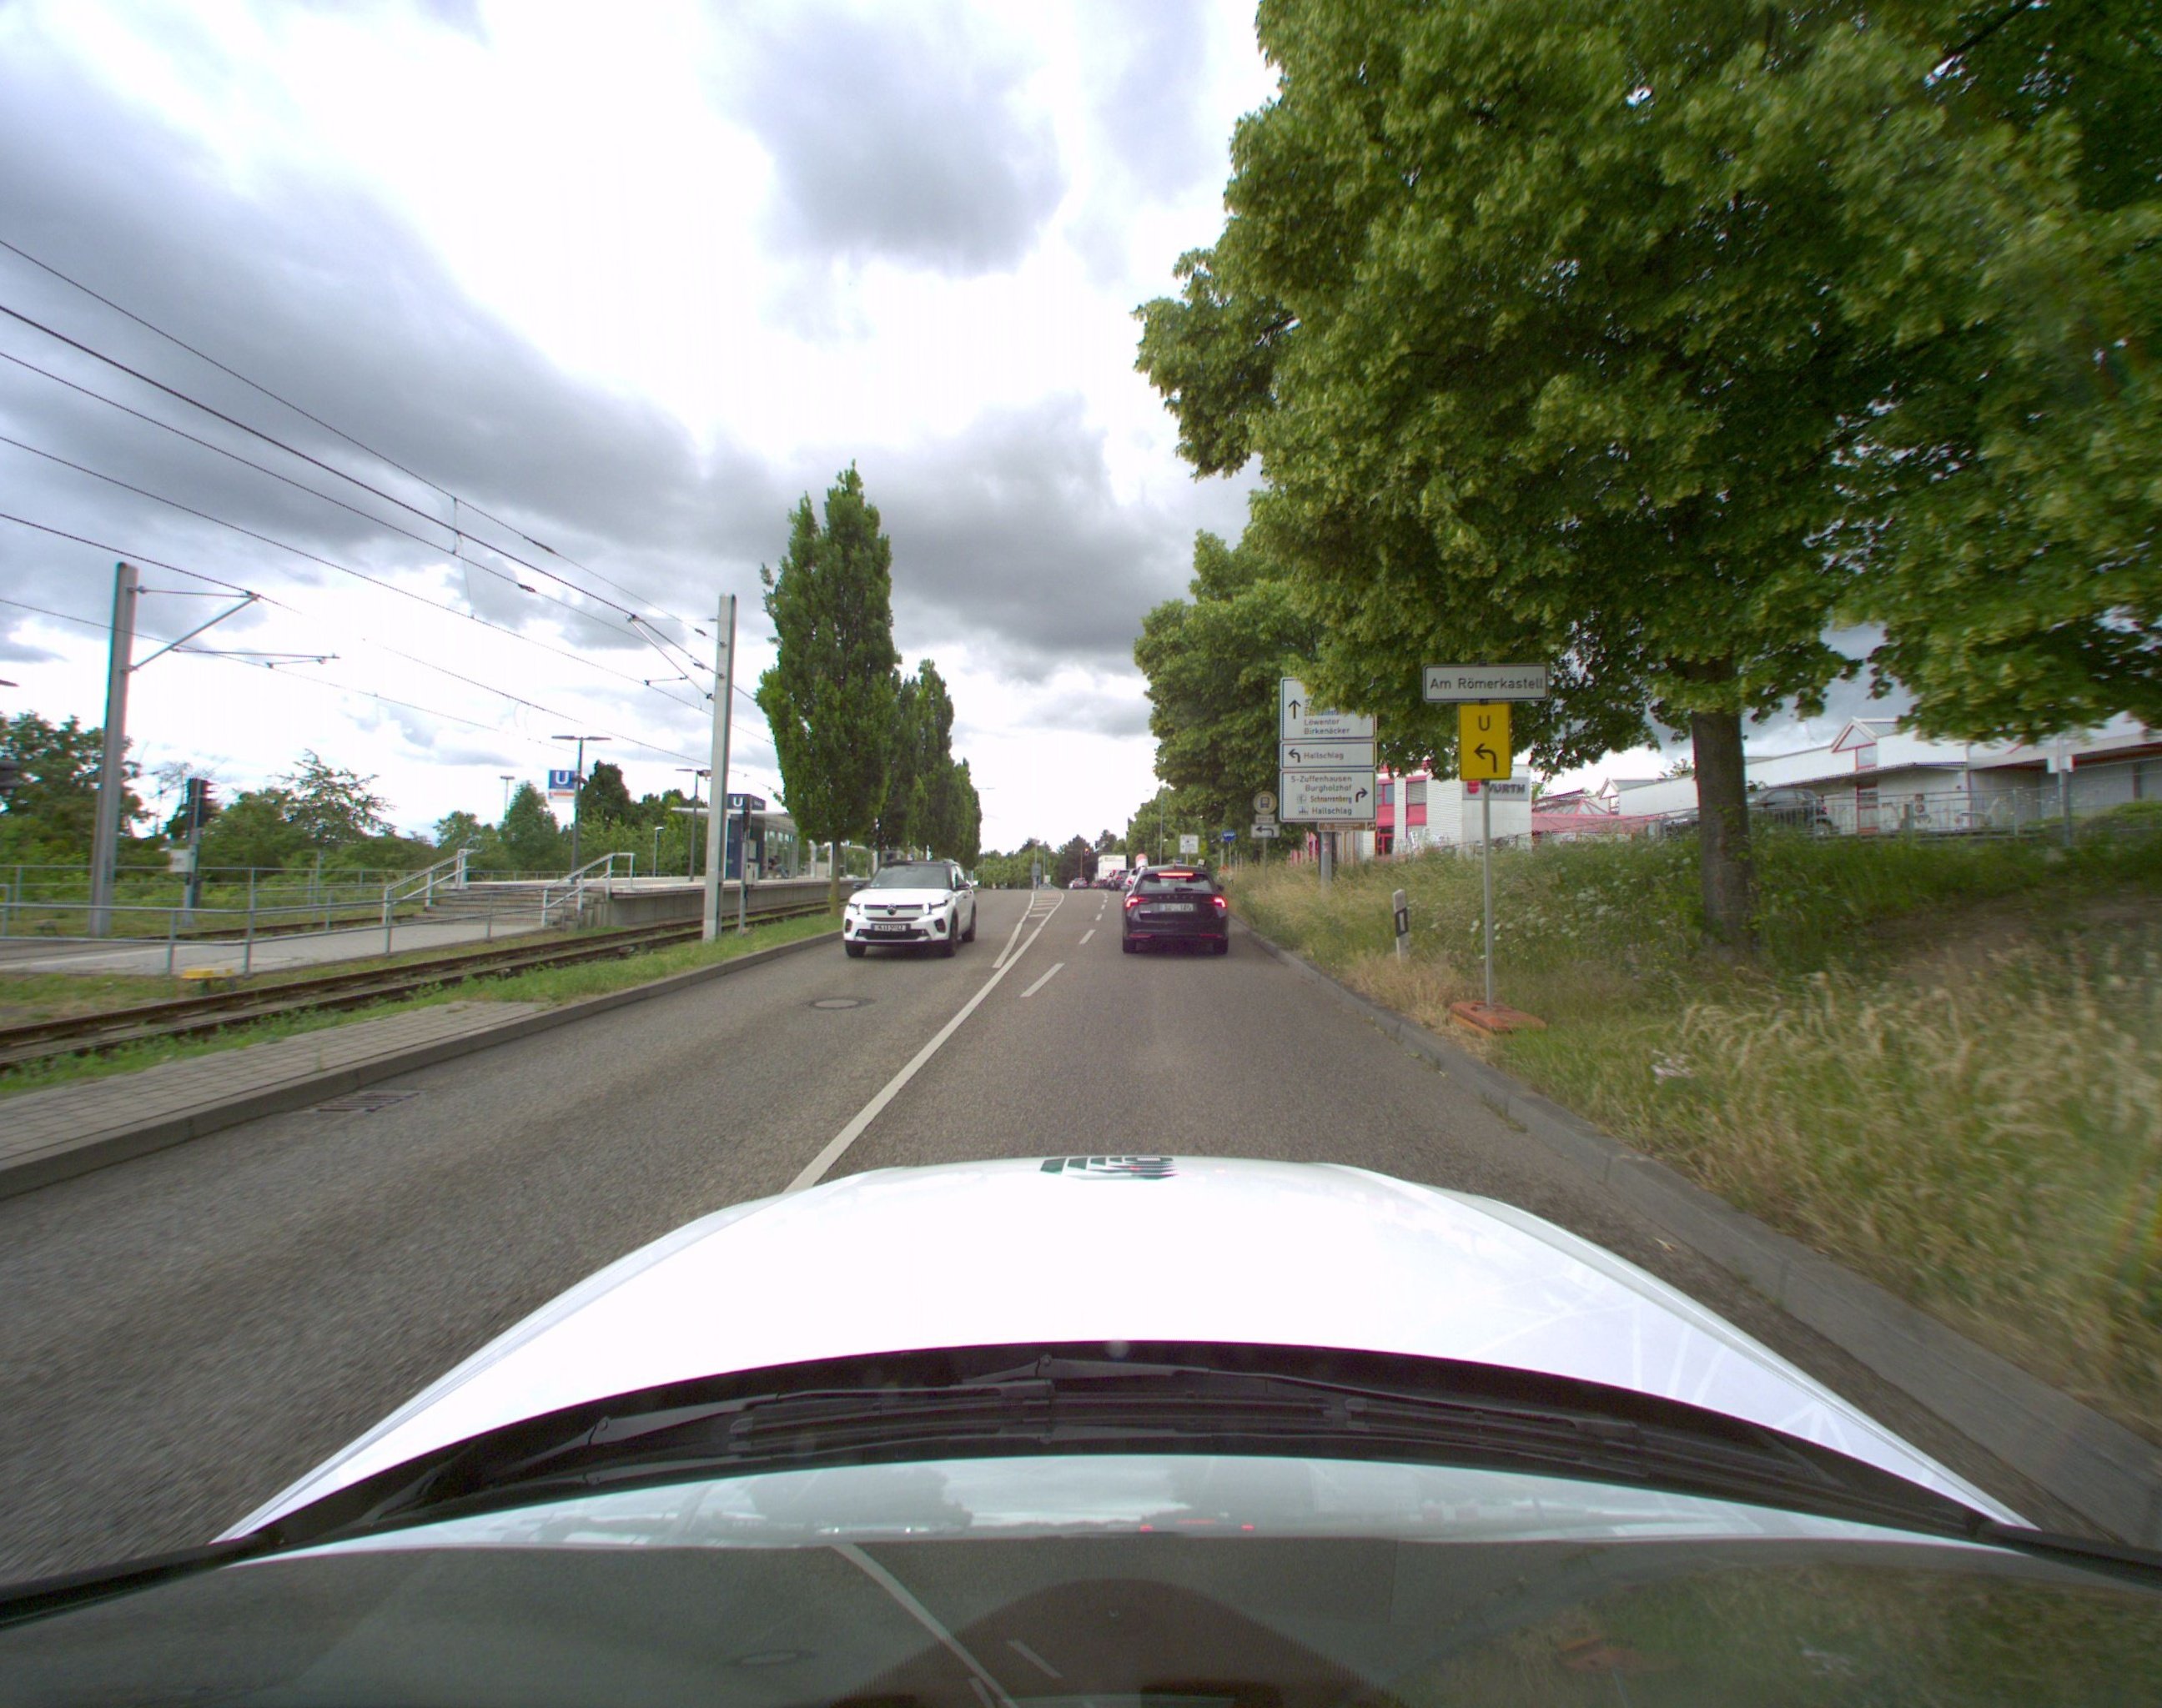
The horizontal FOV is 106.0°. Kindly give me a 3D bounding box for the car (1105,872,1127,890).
[{"bbox_3d":[2.898,2.264,68.393,1.666,1.448,4.488,0,-2,1],"label":"car"}]

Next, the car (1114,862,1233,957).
[{"bbox_3d":[1.679,0.874,14.729,1.826,1.432,4.286,0,0,7],"label":"car"}]

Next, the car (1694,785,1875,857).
[{"bbox_3d":[20.380,-0.924,23.722,3.737,1.959,1.645,1,0,5],"label":"car"}]

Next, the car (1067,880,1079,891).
[{"bbox_3d":[-1.185,4.556,118.539,1.532,1.505,2.666,0,-4,-3],"label":"car"}]

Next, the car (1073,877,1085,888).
[{"bbox_3d":[-0.304,3.639,103.930,1.520,1.354,3.489,0,0,0],"label":"car"}]

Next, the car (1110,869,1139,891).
[{"bbox_3d":[3.029,1.809,57.641,1.694,1.486,3.996,0,0,-2],"label":"car"}]

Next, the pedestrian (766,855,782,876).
[{"bbox_3d":[-15.466,0.578,41.048,0.606,1.079,0.469,0,-1,-4],"label":"pedestrian"}]

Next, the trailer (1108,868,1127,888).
[{"bbox_3d":[2.845,1.914,64.487,1.404,1.594,3.303,0,-2,1],"label":"trailer"}]

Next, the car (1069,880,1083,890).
[{"bbox_3d":[-0.695,4.320,113.210,1.718,1.422,4.350,0,-3,-3],"label":"car"}]

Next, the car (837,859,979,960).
[{"bbox_3d":[-2.881,0.855,14.330,1.711,1.521,3.743,-1,0,-1],"label":"car"}]

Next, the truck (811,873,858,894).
[{"bbox_3d":[-42.738,5.149,141.184,7.215,3.599,2.692,0,-1,0],"label":"truck"}]

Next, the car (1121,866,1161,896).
[{"bbox_3d":[2.977,1.350,41.116,1.713,1.457,3.695,0,-1,0],"label":"car"}]

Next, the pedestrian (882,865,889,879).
[{"bbox_3d":[-18.306,1.651,76.208,0.609,1.269,0.658,0,-1,-8],"label":"pedestrian"}]

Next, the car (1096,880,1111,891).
[{"bbox_3d":[2.872,4.025,104.713,1.806,1.354,4.116,0,-1,-1],"label":"car"}]

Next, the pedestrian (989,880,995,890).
[{"bbox_3d":[-13.510,4.660,123.224,0.862,1.560,0.517,0,-1,-5],"label":"pedestrian"}]

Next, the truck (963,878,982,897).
[{"bbox_3d":[-24.666,7.512,184.361,2.666,3.649,9.448,2,0,-17],"label":"truck"}]

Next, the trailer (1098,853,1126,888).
[{"bbox_3d":[3.371,1.932,91.388,2.559,3.707,7.755,0,-3,-2],"label":"trailer"}]

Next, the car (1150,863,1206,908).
[{"bbox_3d":[3.352,1.062,28.748,1.617,1.457,3.690,0,0,1],"label":"car"}]

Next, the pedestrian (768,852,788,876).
[{"bbox_3d":[-14.967,0.486,40.239,0.760,1.199,0.664,0,-2,-4],"label":"pedestrian"}]

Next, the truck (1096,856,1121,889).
[{"bbox_3d":[3.223,2.166,95.310,2.565,3.707,4.101,0,-3,-3],"label":"truck"}]
